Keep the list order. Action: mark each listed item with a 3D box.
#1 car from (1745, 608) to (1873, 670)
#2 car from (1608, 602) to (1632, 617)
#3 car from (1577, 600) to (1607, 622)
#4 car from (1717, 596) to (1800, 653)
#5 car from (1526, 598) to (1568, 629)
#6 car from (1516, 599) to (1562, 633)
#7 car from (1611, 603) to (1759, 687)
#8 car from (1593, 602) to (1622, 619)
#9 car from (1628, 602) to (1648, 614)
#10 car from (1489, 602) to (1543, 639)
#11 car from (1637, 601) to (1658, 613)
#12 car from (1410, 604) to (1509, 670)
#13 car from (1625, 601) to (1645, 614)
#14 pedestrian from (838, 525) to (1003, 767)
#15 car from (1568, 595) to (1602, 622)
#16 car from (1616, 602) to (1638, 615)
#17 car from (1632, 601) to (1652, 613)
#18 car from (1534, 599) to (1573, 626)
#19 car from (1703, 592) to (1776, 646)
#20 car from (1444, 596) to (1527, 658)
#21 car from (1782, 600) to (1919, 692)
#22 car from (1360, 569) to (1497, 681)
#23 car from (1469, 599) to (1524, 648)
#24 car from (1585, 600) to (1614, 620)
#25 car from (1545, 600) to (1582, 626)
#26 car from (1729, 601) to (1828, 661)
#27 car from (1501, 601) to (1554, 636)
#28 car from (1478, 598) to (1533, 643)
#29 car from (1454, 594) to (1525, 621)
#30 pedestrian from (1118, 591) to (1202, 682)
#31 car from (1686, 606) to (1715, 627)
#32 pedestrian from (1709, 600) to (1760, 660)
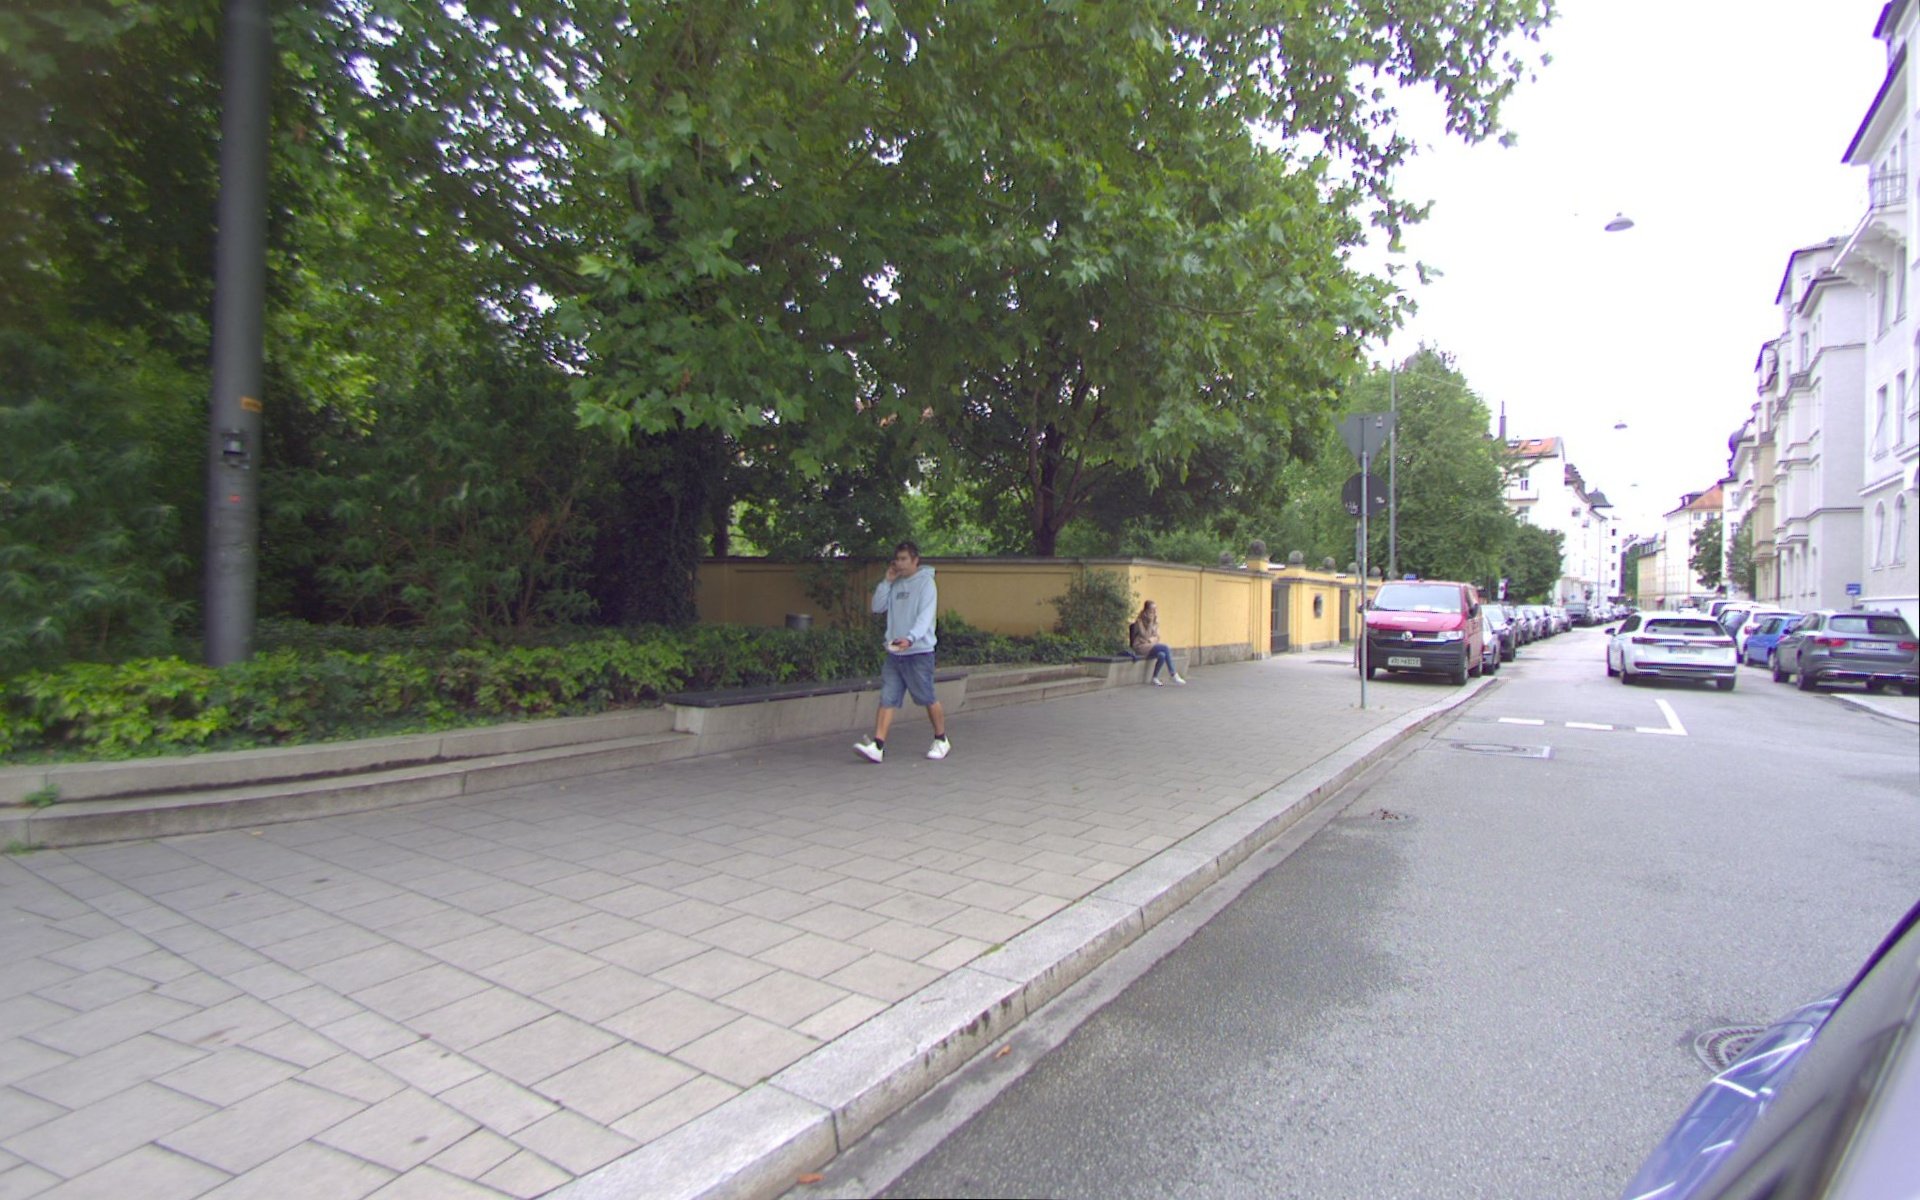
[{"bbox_3d":[22.385,0.971,26.823,1.680,1.432,3.630,2,1,26],"label":"car"},{"bbox_3d":[77.235,1.116,118.354,1.988,1.615,4.240,-3,-2,37],"label":"car"},{"bbox_3d":[52.934,0.924,84.740,1.985,1.674,4.394,-3,-2,33],"label":"car"},{"bbox_3d":[27.946,0.795,35.571,1.740,1.810,4.977,2,1,33],"label":"car"},{"bbox_3d":[31.610,0.702,54.491,1.706,1.590,4.268,1,1,33],"label":"car"},{"bbox_3d":[28.718,0.758,50.137,1.706,1.590,4.635,1,1,33],"label":"car"},{"bbox_3d":[14.621,0.809,20.675,1.874,1.467,4.841,1,0,29],"label":"car"},{"bbox_3d":[62.961,1.013,98.398,1.988,1.615,4.240,-3,-2,37],"label":"car"},{"bbox_3d":[95.613,1.100,142.689,1.989,1.615,4.365,-3,-2,38],"label":"car"},{"bbox_3d":[22.612,0.794,41.124,1.684,1.433,3.990,-1,-1,32],"label":"car"},{"bbox_3d":[104.122,1.050,153.258,1.991,1.615,4.233,-3,-3,42],"label":"car"},{"bbox_3d":[12.360,0.846,24.906,1.874,1.467,4.322,-1,-1,30],"label":"car"},{"bbox_3d":[92.349,1.079,138.432,1.989,1.704,4.238,-3,-2,38],"label":"car"},{"bbox_3d":[-0.303,0.335,8.180,0.871,1.793,1.039,1,0,35],"label":"pedestrian"},{"bbox_3d":[47.236,0.666,76.457,1.985,1.986,4.379,-3,-2,33],"label":"car"},{"bbox_3d":[83.587,1.092,126.827,1.988,1.615,4.240,-3,-2,37],"label":"car"},{"bbox_3d":[98.672,0.976,146.410,1.991,1.615,4.235,-3,-3,40],"label":"car"},{"bbox_3d":[34.248,0.674,58.345,1.706,1.471,4.133,1,1,33],"label":"car"},{"bbox_3d":[31.245,0.712,40.691,1.849,1.962,4.899,2,1,33],"label":"car"},{"bbox_3d":[15.631,0.757,29.968,1.875,1.674,4.770,-1,-1,31],"label":"car"},{"bbox_3d":[18.305,0.850,20.688,1.739,1.622,4.445,2,1,32],"label":"car"},{"bbox_3d":[9.398,0.445,20.077,1.865,1.945,4.831,-1,-1,32],"label":"car"},{"bbox_3d":[18.121,0.755,34.106,1.477,1.559,3.652,-1,-1,30],"label":"car"},{"bbox_3d":[55.960,0.870,88.589,1.986,1.615,4.246,-3,-2,34],"label":"car"},{"bbox_3d":[37.059,0.781,62.098,1.706,1.471,4.896,1,1,33],"label":"car"},{"bbox_3d":[24.791,0.883,30.783,1.739,1.622,4.445,2,1,32],"label":"car"},{"bbox_3d":[25.372,0.774,45.205,1.686,1.432,4.460,1,1,34],"label":"car"},{"bbox_3d":[20.421,0.744,37.836,1.502,1.586,2.834,-1,-1,34],"label":"car"},{"bbox_3d":[39.872,0.567,76.228,4.641,1.896,1.723,1,-2,31],"label":"car"},{"bbox_3d":[3.147,0.546,15.914,1.007,1.355,0.865,1,0,37],"label":"pedestrian"},{"bbox_3d":[53.272,1.156,72.810,1.619,1.447,3.888,3,1,37],"label":"car"},{"bbox_3d":[23.388,0.886,30.555,0.944,1.778,0.878,1,0,-25],"label":"pedestrian"}]
